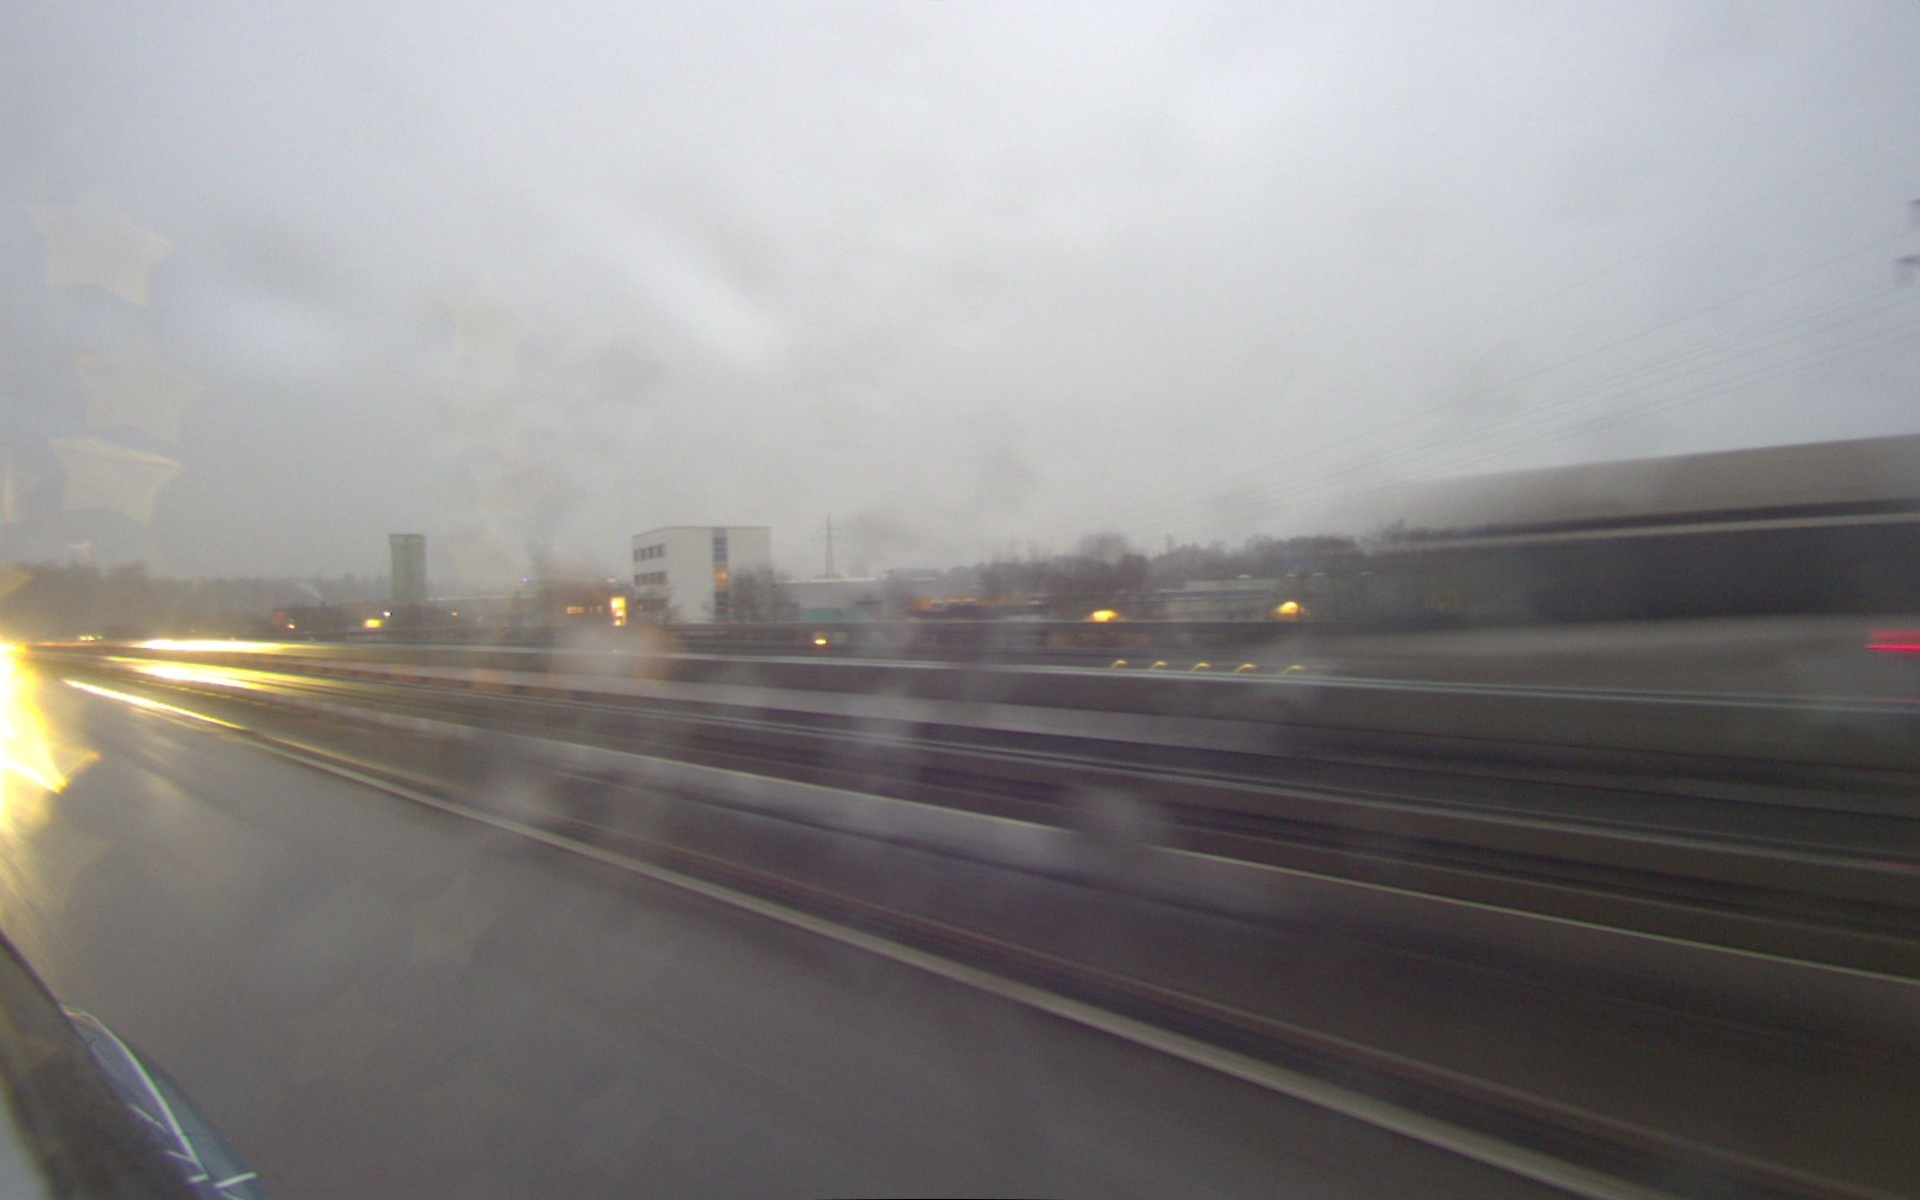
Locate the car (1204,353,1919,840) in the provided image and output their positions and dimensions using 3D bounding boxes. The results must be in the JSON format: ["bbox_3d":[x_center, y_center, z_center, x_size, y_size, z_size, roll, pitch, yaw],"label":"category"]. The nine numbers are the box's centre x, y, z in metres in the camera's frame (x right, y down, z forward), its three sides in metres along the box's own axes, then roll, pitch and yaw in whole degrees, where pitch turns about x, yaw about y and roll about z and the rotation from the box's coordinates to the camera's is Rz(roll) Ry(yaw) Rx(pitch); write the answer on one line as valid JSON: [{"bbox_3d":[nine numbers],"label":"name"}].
[{"bbox_3d":[4.347,-0.011,6.252,5.207,2.280,2.027,-1,0,43],"label":"car"}]
